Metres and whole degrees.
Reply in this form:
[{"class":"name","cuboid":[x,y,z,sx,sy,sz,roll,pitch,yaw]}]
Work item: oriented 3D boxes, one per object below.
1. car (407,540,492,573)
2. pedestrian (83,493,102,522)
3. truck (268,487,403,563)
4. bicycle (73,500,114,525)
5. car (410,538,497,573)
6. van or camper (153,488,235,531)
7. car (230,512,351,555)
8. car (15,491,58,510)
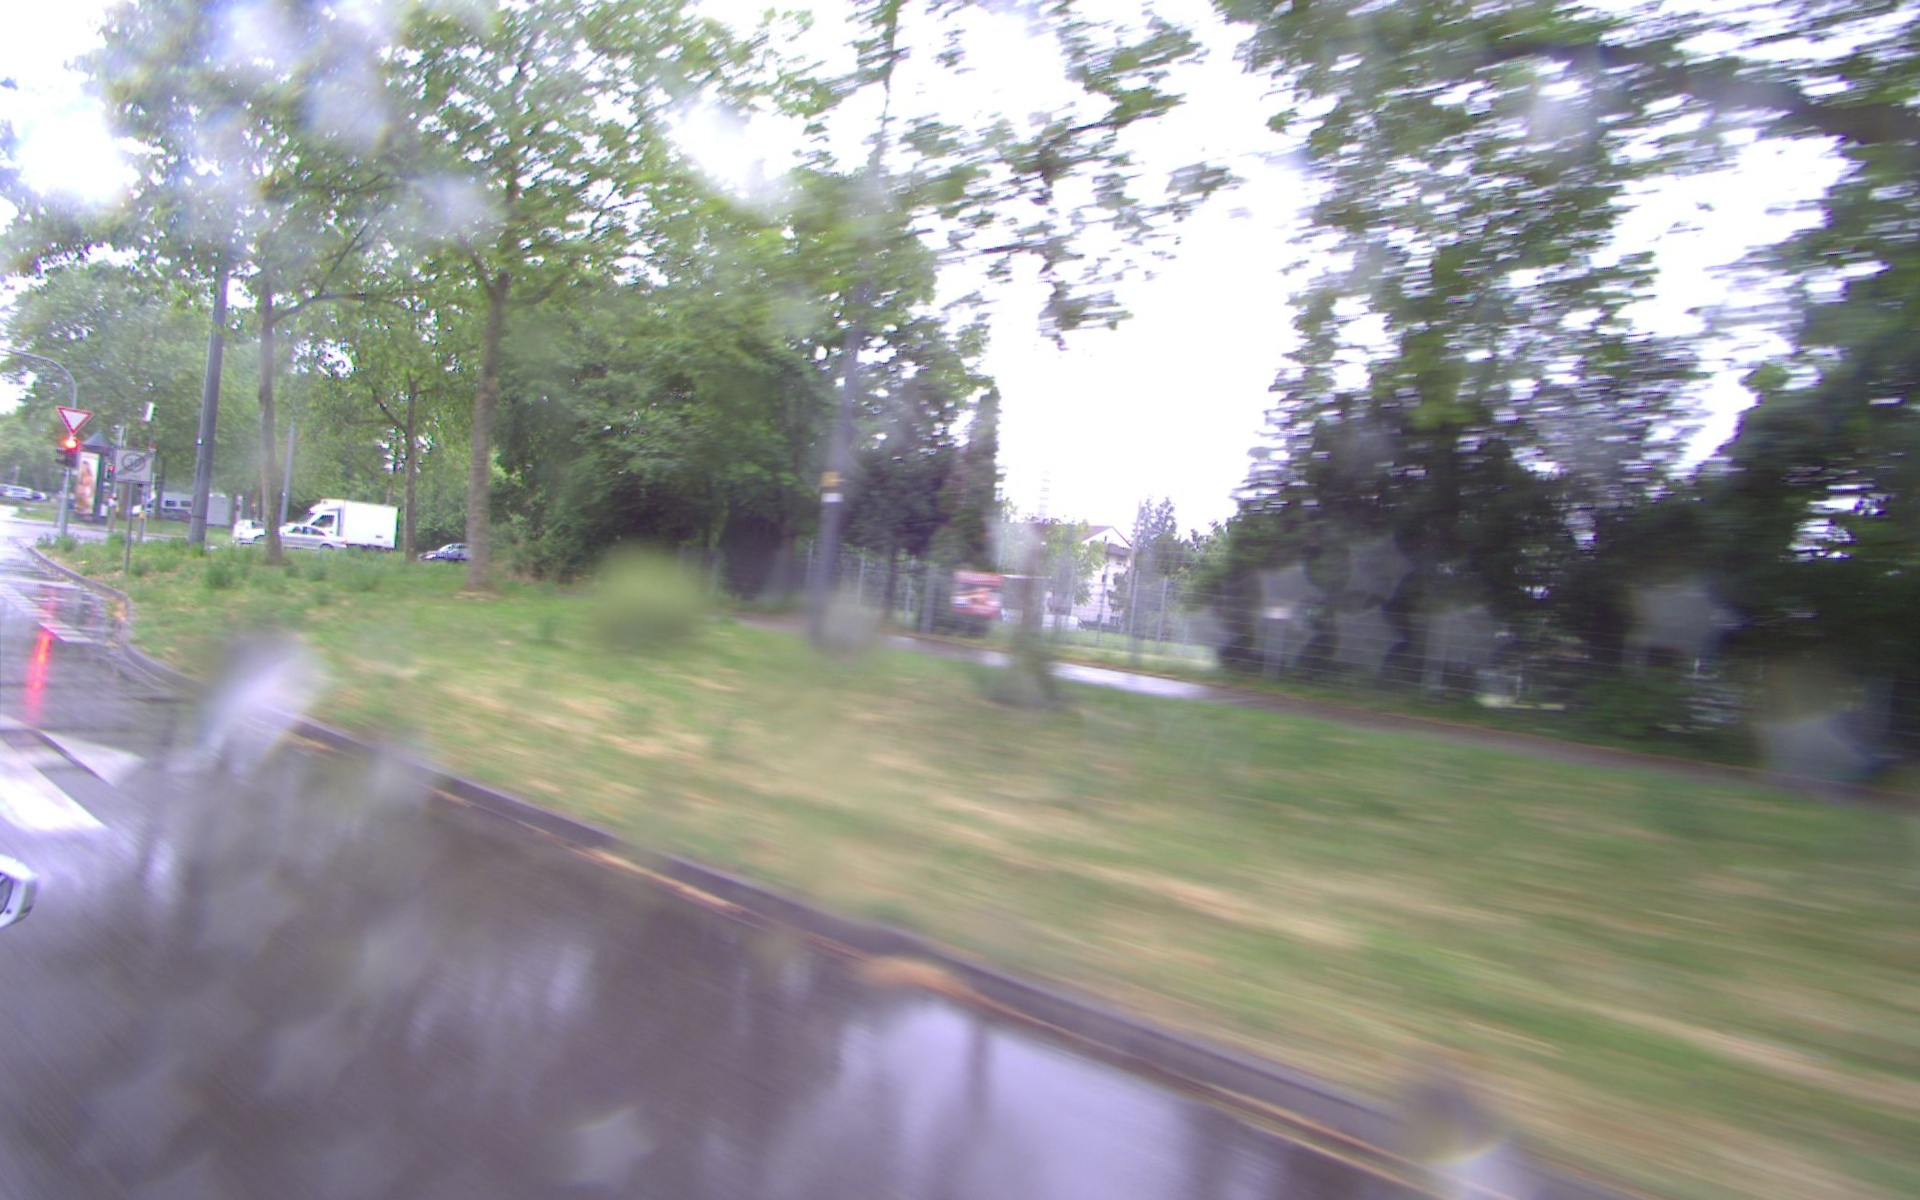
[{"class":"car","cuboid":[-31.214,-2.634,61.597,1.740,1.439,4.197,7,-1,40]},{"class":"pedestrian","cuboid":[-47.748,-5.105,55.398,0.492,1.493,0.576,7,1,33]},{"class":"truck","cuboid":[-32.712,-3.880,52.862,1.951,3.095,5.467,7,-1,37]},{"class":"bicycle","cuboid":[-47.757,-4.831,55.437,0.492,1.115,1.563,7,0,32]},{"class":"car","cuboid":[-29.043,-2.539,57.763,1.620,1.407,4.109,7,-1,37]},{"class":"van or camper","cuboid":[-66.622,-7.822,87.655,5.186,2.729,2.225,9,-1,-31]},{"class":"car","cuboid":[-32.269,-3.174,48.610,1.620,1.407,4.512,7,-1,37]},{"class":"car","cuboid":[-122.922,-13.288,133.982,4.120,1.883,1.653,7,0,-43]}]
